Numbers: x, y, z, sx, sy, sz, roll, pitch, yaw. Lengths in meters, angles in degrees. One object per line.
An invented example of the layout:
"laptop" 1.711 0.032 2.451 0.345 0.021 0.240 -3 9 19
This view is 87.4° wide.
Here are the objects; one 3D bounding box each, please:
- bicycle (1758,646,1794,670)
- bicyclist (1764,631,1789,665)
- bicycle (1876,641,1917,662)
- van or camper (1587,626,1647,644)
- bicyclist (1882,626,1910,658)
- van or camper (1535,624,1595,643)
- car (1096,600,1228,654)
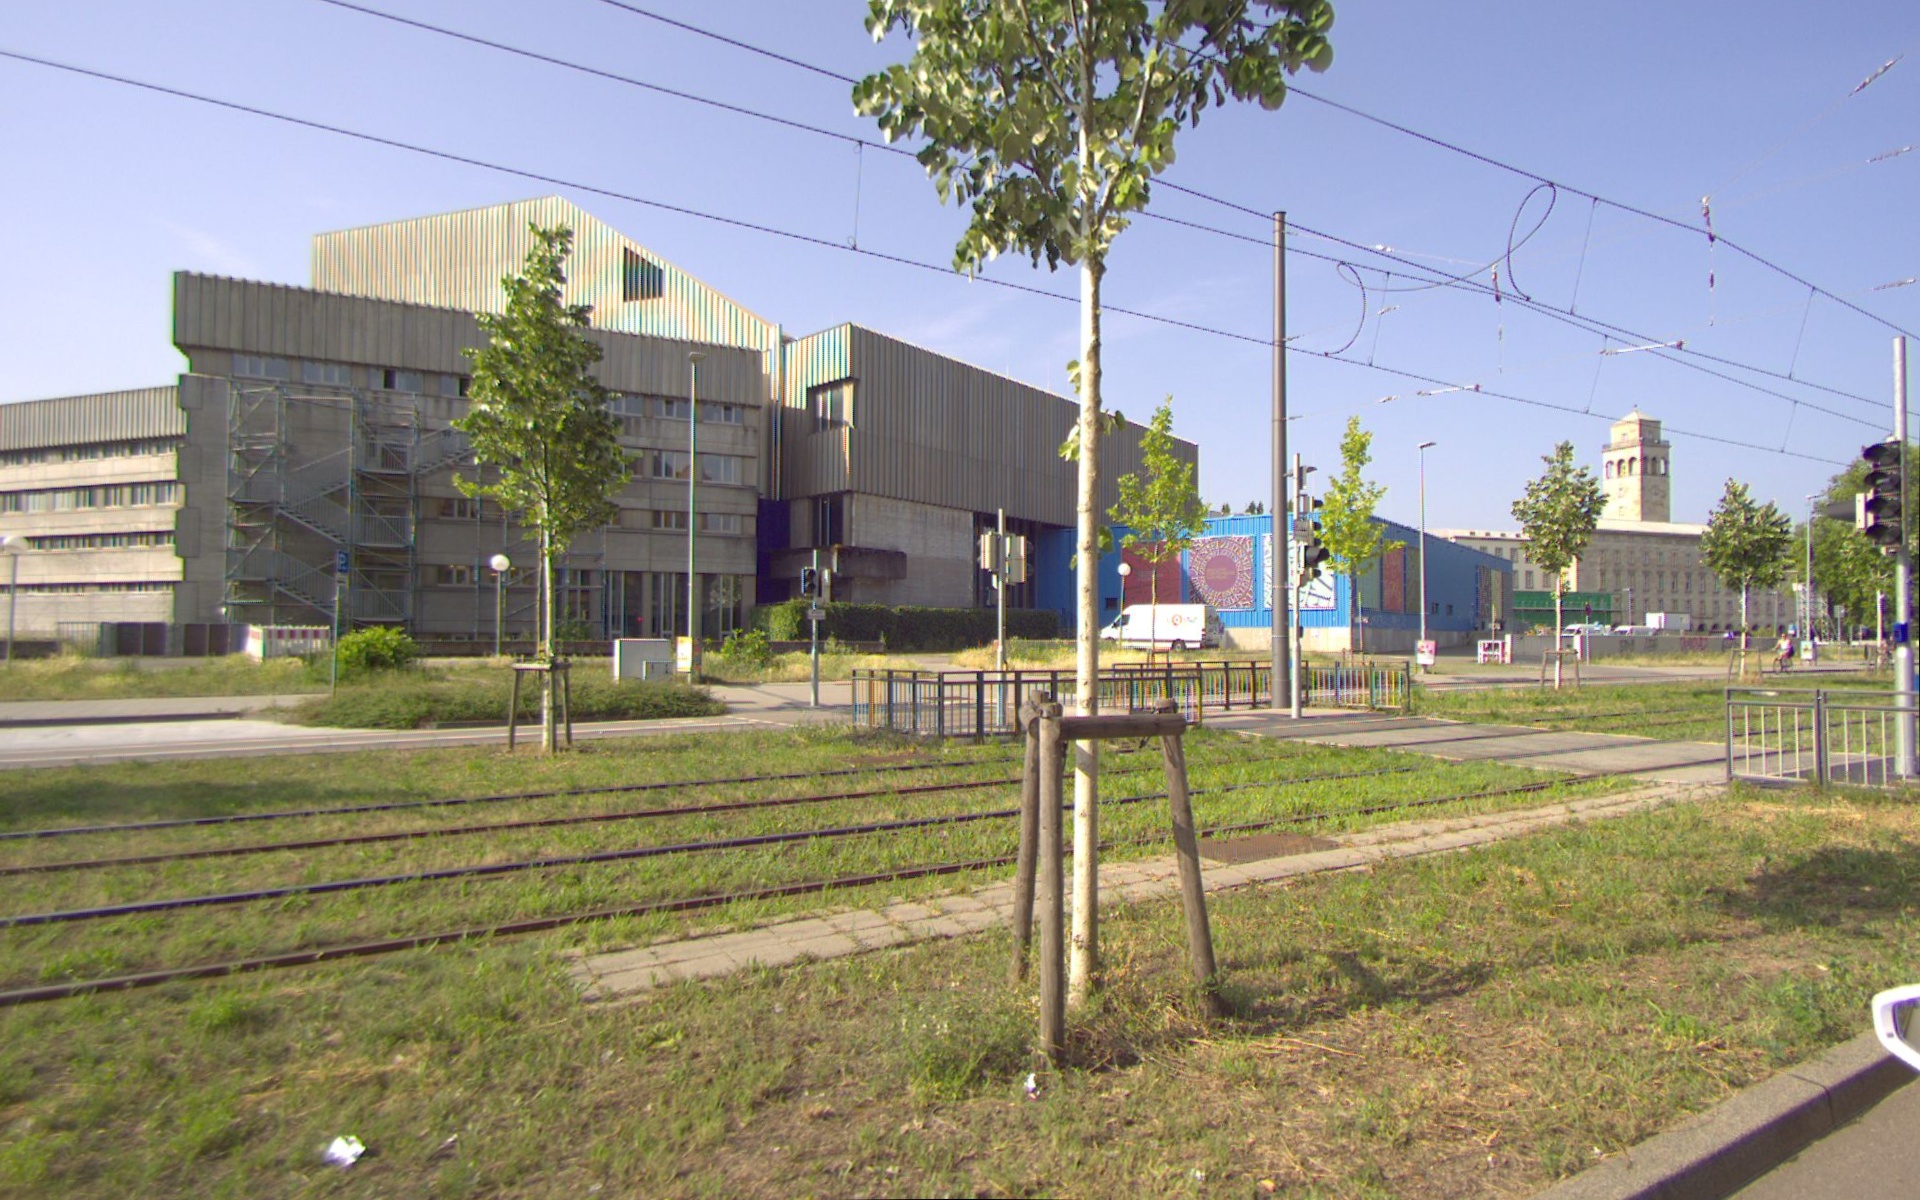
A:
"bicycle" 35.169 2.483 43.279 1.894 0.971 0.536 1 -2 -29
"bicyclist" 35.168 2.058 43.272 0.889 1.441 0.536 1 -1 -28
"bicycle" 45.768 2.516 49.071 2.791 1.003 0.692 1 -2 -30
"van or camper" 78.305 4.162 119.770 6.336 2.113 2.555 1 -2 -18
"bicyclist" 45.688 2.032 49.042 1.172 1.536 0.692 1 -2 -30
"van or camper" 71.005 3.919 117.898 6.336 2.113 2.555 1 -2 -18
"car" 11.159 1.454 55.865 6.788 2.674 2.504 2 0 38
